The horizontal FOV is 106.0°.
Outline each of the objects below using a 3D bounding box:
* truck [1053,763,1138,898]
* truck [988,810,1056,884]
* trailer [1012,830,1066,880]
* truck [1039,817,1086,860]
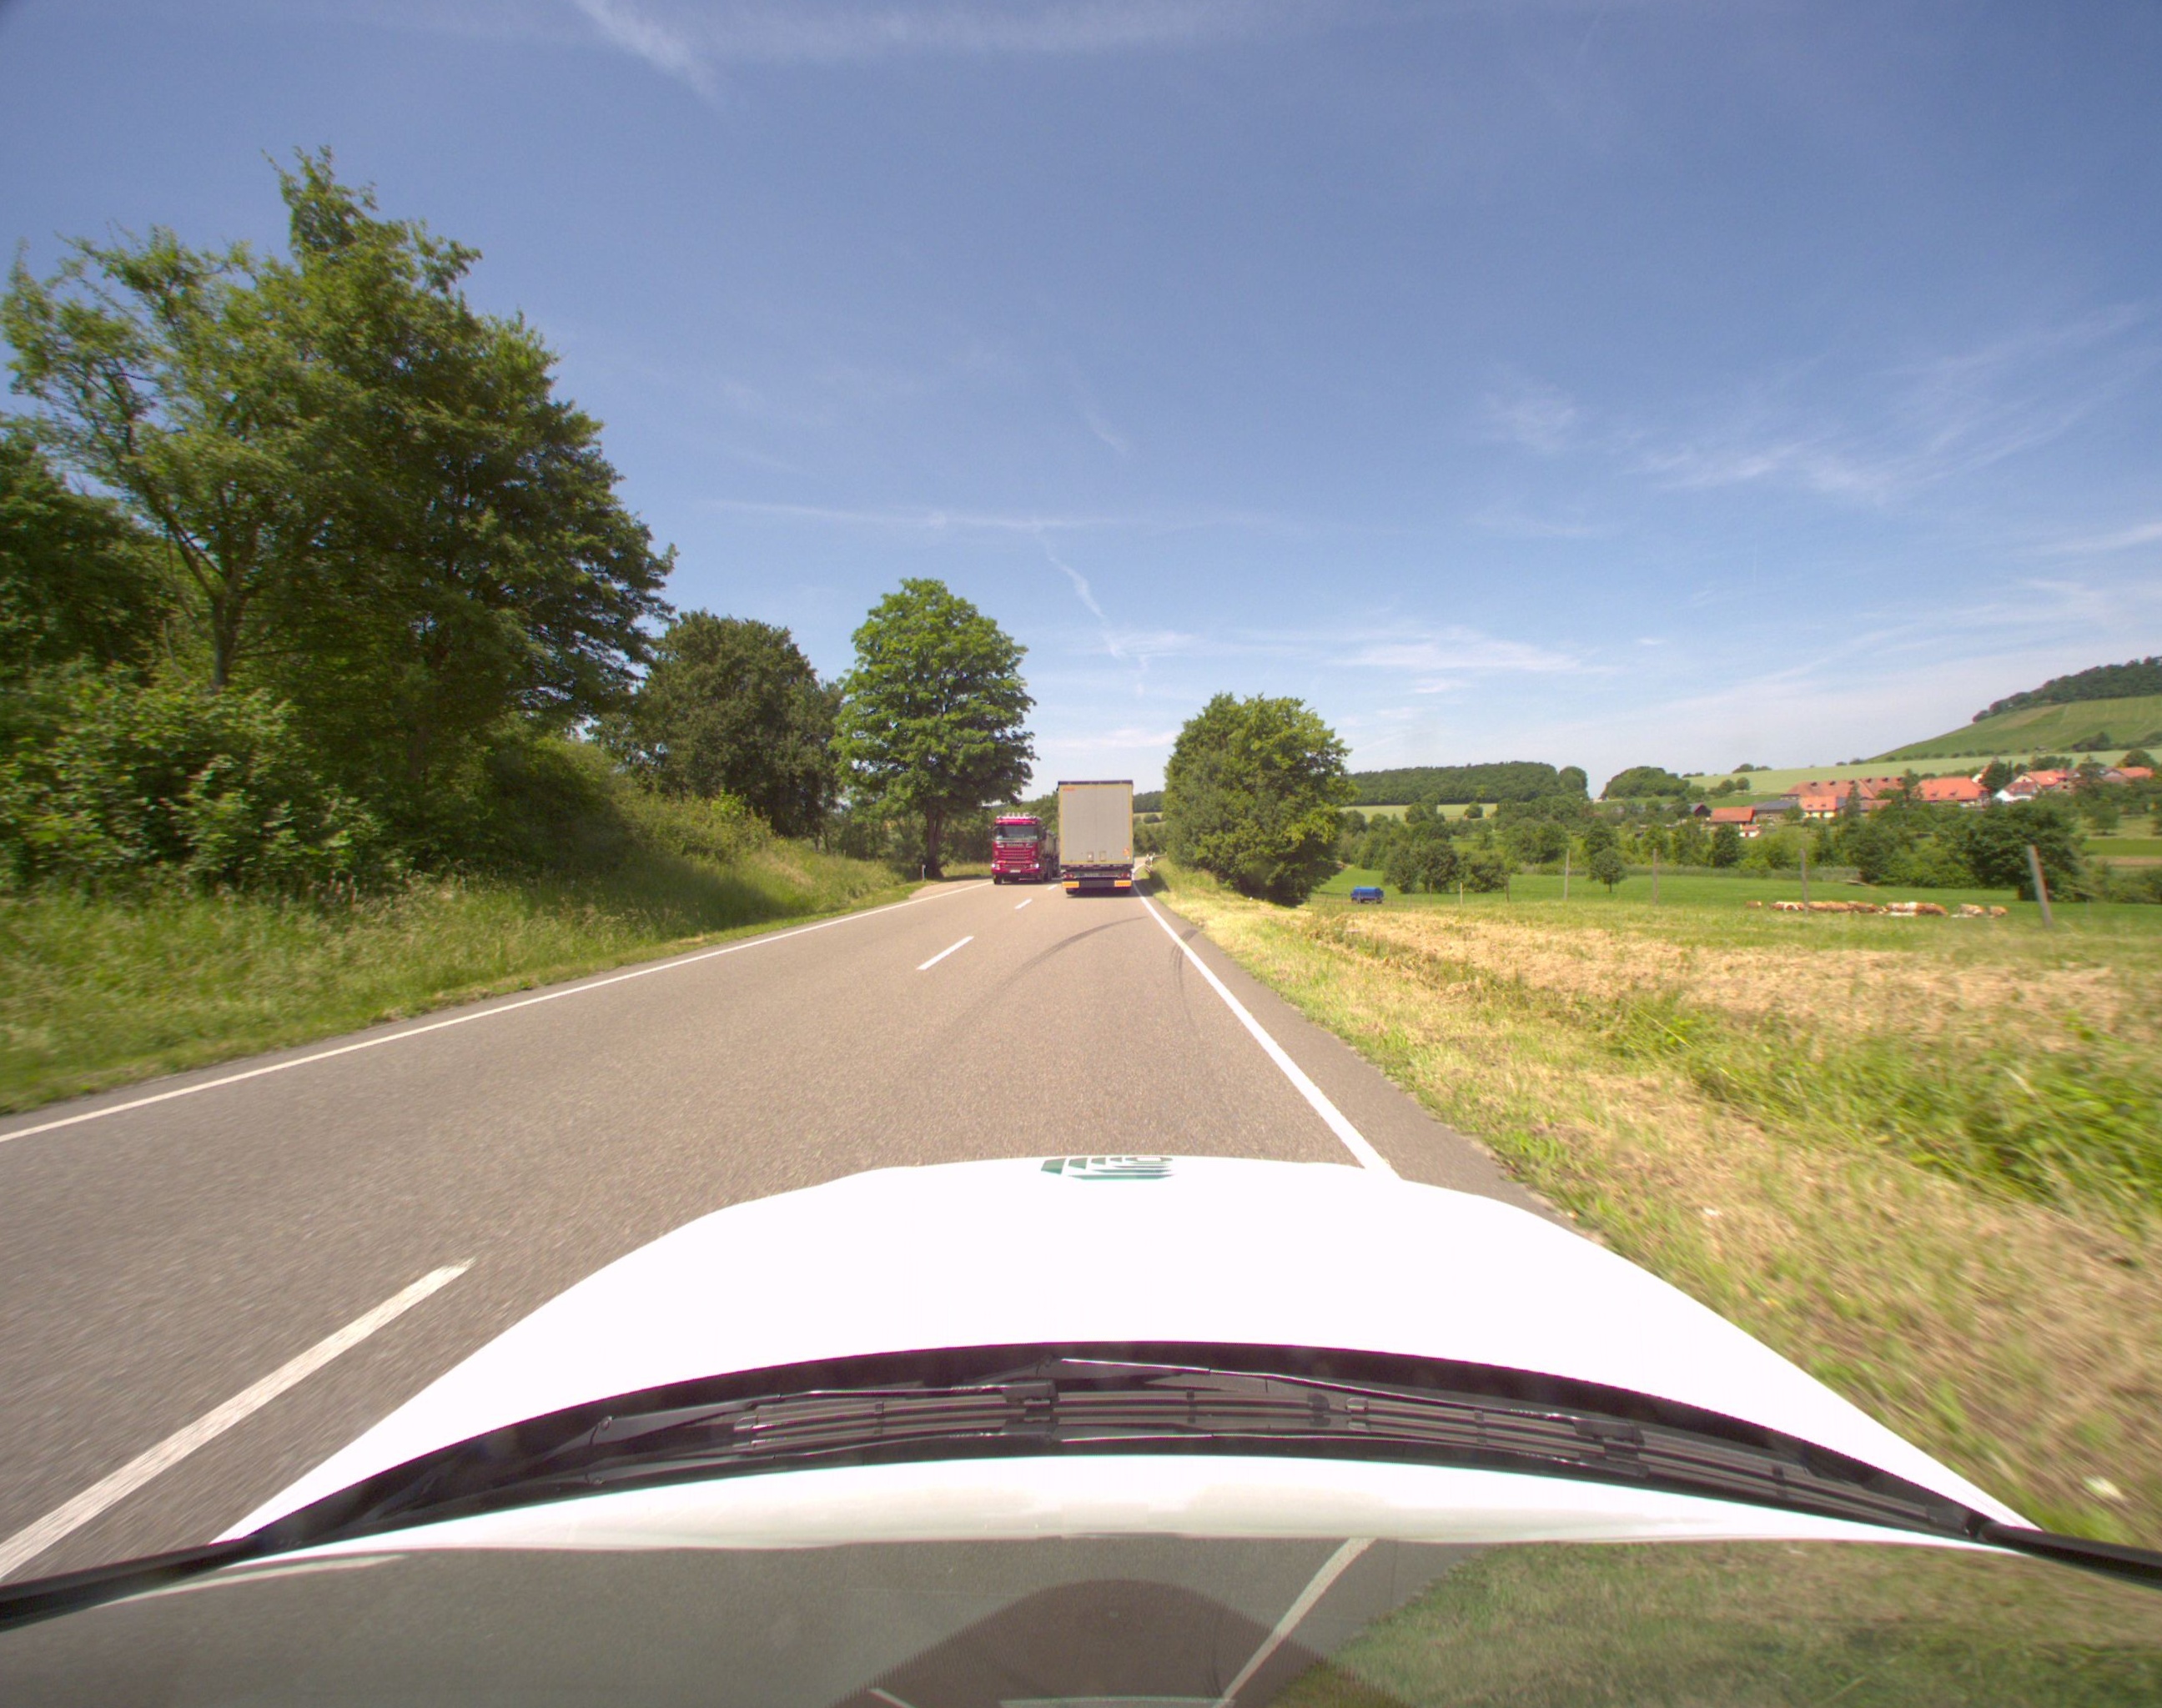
[{"bbox_3d":[0.576,-0.837,33.466,2.807,4.532,11.769,-1,0,1],"label":"truck"},{"bbox_3d":[-2.972,-0.350,43.535,2.520,3.559,7.769,-1,0,4],"label":"truck"},{"bbox_3d":[-2.496,0.065,50.914,2.632,2.872,7.082,-1,0,3],"label":"trailer"},{"bbox_3d":[-1.693,-1.511,82.653,2.547,3.939,16.190,0,0,6],"label":"truck"}]
